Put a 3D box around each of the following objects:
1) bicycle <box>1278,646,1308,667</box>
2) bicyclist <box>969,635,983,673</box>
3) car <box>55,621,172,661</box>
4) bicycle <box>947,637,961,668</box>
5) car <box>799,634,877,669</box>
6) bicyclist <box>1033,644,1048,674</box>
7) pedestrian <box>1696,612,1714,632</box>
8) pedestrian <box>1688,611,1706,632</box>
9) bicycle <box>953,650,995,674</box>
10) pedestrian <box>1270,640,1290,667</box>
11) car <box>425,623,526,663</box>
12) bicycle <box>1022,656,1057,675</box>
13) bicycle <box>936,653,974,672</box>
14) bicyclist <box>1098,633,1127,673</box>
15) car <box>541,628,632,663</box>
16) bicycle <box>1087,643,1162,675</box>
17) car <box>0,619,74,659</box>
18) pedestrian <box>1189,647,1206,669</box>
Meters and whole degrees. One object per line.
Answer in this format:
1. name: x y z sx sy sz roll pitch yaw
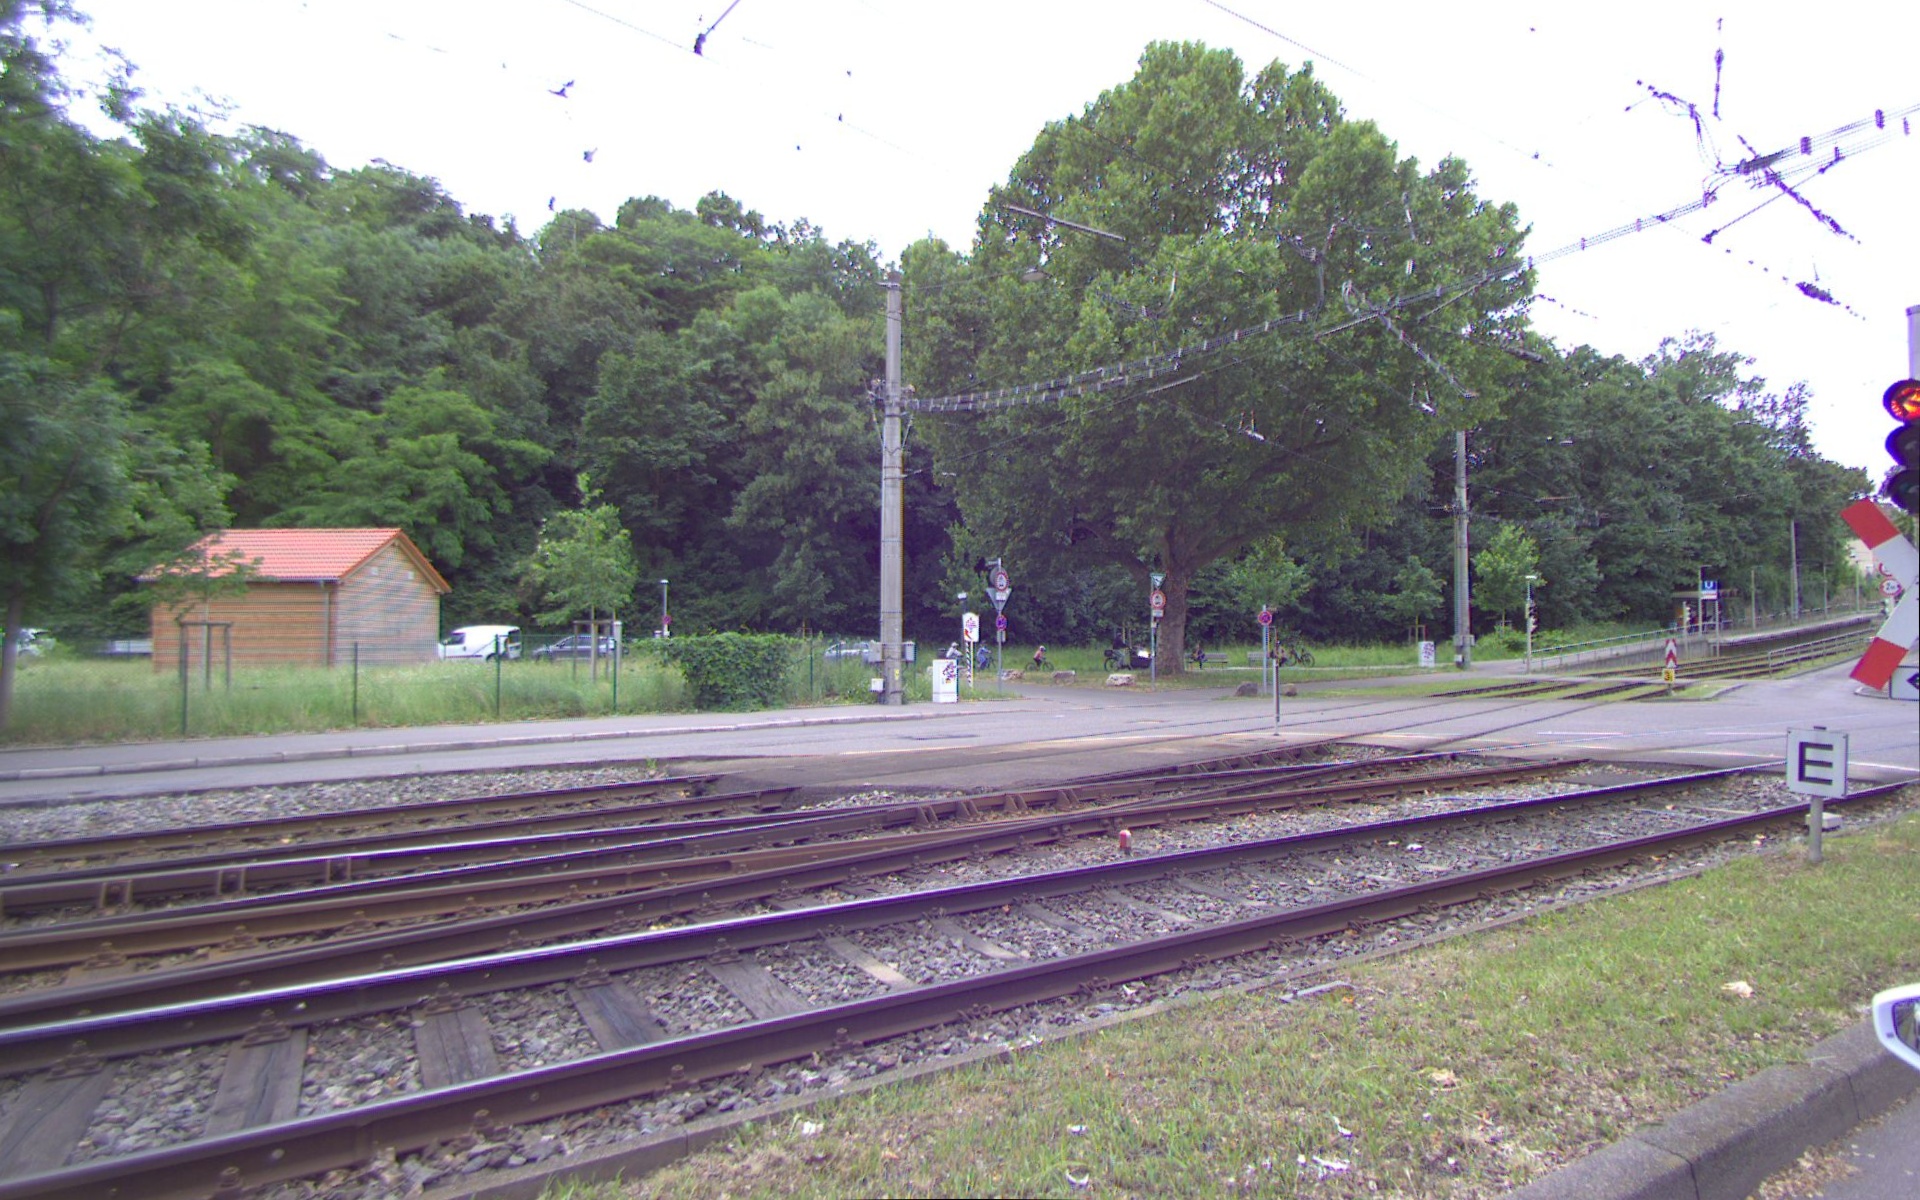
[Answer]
1. bicycle: 16.356 2.773 49.366 0.611 0.897 1.743 2 0 -10
2. bicyclist: 0.727 2.478 45.780 0.611 1.697 0.475 0 2 2
3. car: -37.592 1.819 44.671 3.610 1.634 1.757 2 0 -3
4. bicycle: -0.258 2.333 44.802 0.507 1.348 0.453 -1 2 -14
5. car: -5.652 2.386 46.842 3.436 1.443 1.700 2 0 -3
6. bicyclist: 3.673 2.700 45.837 0.570 1.319 0.455 -2 2 -1
7. pedestrian: 50.092 1.478 67.517 0.780 1.344 0.766 2 0 -38
8. pedestrian: 49.022 1.442 66.782 0.780 1.344 0.766 -1 2 -37
9. bicycle: 0.624 2.807 45.795 1.906 1.055 0.475 0 1 2
10. pedestrian: 15.557 2.587 48.854 0.662 1.251 0.578 2 0 -16
11. car: -21.906 1.939 45.516 3.610 1.634 1.909 2 0 -3
12. bicycle: 3.617 2.988 45.852 1.528 0.749 0.455 -2 2 -1
13. bicycle: -0.218 2.792 44.829 1.625 0.749 0.453 -1 2 -15
14. bicyclist: 6.877 2.384 45.323 1.266 1.734 0.736 -1 2 6
15. car: -16.859 2.040 45.460 3.436 1.443 1.700 2 0 -3
16. bicycle: 7.409 2.654 45.287 3.279 1.307 0.736 -1 2 6
17. car: -41.785 1.691 44.349 3.612 1.634 1.756 2 0 -6
18. pedestrian: 11.405 2.801 48.313 0.610 1.003 0.530 2 0 -15
